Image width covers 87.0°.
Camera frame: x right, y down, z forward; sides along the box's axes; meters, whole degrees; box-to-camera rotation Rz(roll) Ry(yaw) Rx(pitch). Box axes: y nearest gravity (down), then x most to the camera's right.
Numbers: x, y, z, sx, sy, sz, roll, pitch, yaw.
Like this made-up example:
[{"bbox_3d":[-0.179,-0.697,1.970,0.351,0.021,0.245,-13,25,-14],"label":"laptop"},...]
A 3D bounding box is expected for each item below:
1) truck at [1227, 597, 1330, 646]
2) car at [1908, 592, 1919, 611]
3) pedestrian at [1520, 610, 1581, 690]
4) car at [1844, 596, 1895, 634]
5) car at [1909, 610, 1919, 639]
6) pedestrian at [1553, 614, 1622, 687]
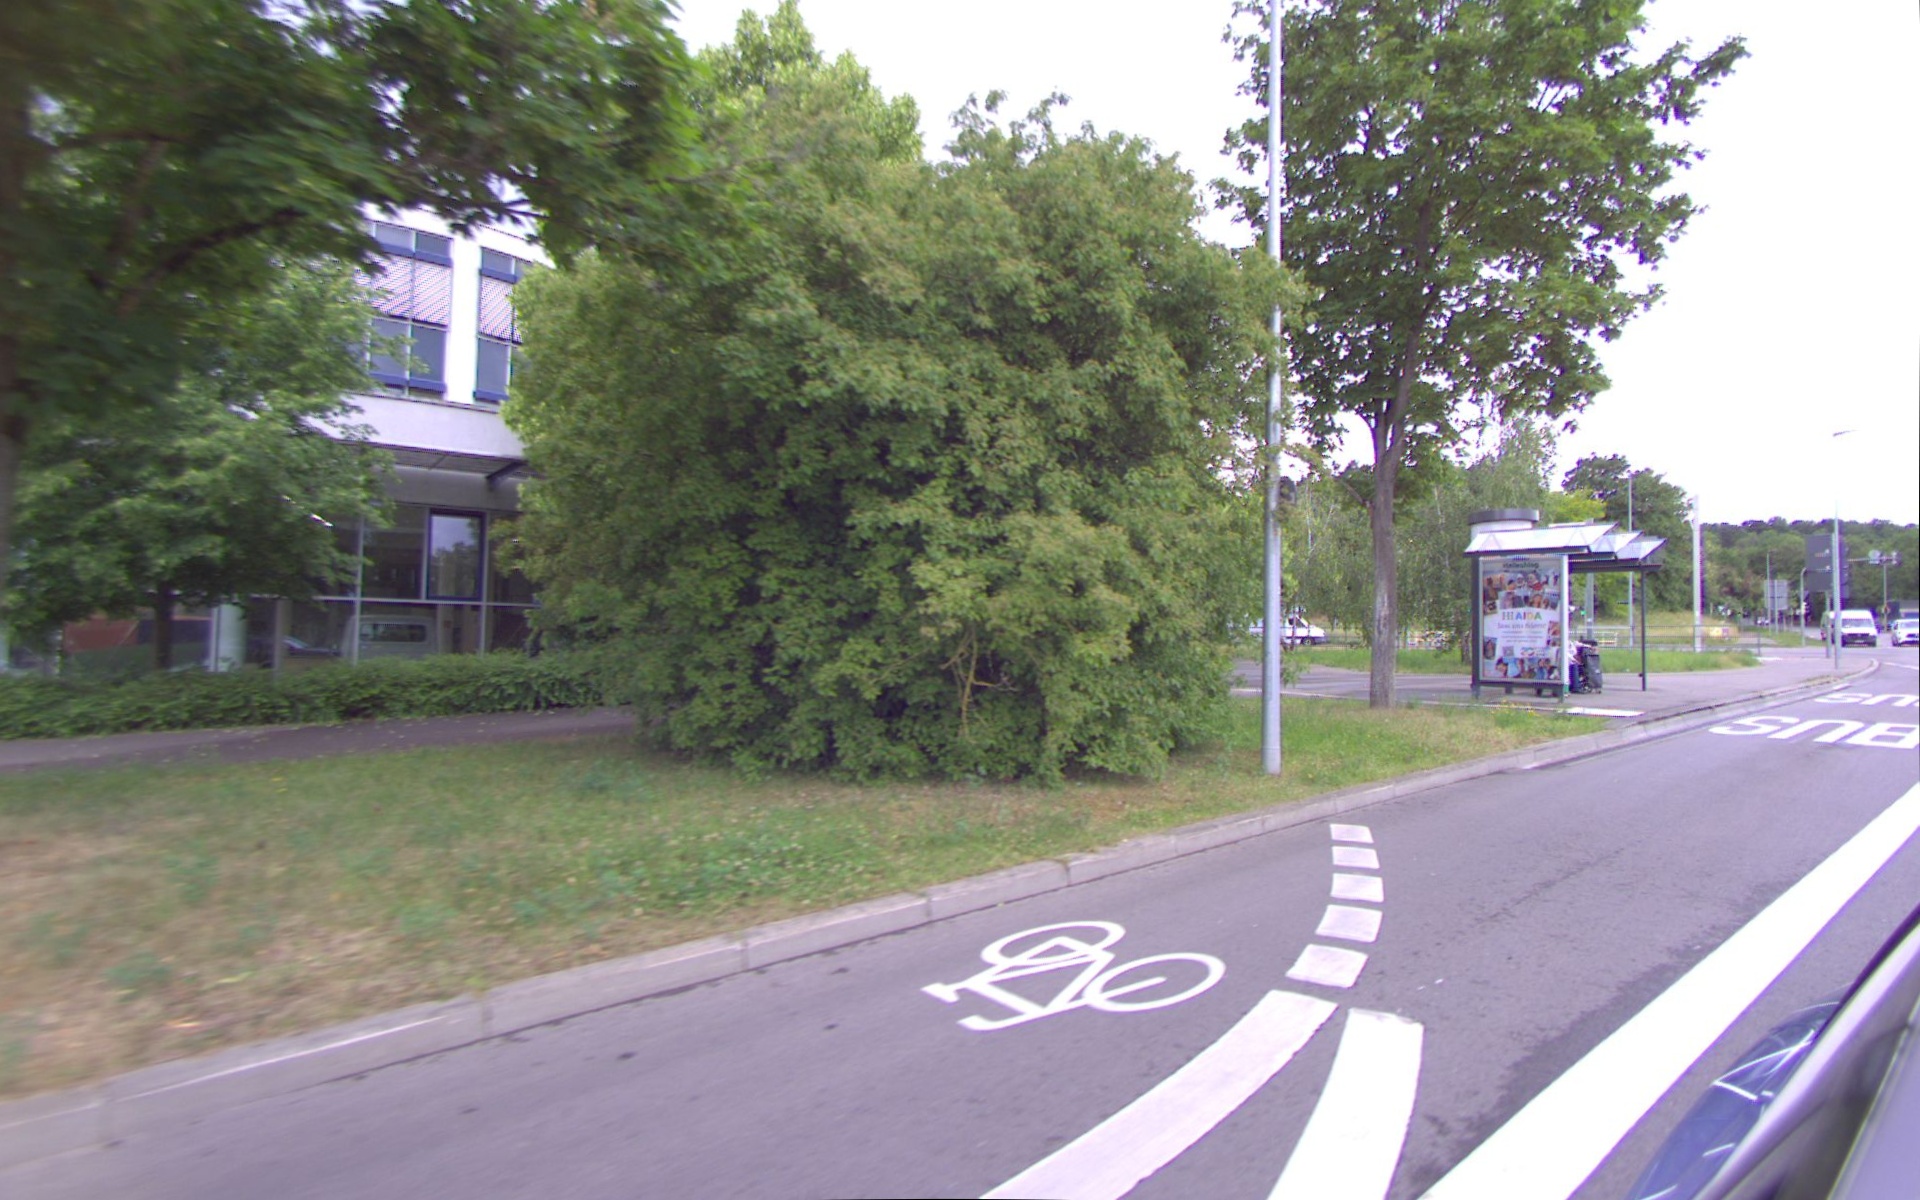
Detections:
[{"bbox_3d":[20.777,1.429,66.120,6.206,3.048,2.094,-1,1,25],"label":"truck"},{"bbox_3d":[112.978,0.189,118.540,4.733,2.040,2.303,2,-3,-41],"label":"car"},{"bbox_3d":[10.098,0.847,17.318,0.578,1.333,0.729,2,-3,-39],"label":"pedestrian"},{"bbox_3d":[66.615,1.149,74.204,2.215,2.693,5.878,-3,-3,38],"label":"car"},{"bbox_3d":[69.166,1.732,72.163,2.113,2.017,4.909,-4,-4,43],"label":"car"},{"bbox_3d":[11.154,0.881,18.019,0.763,1.269,0.771,0,-2,8],"label":"pedestrian"}]
